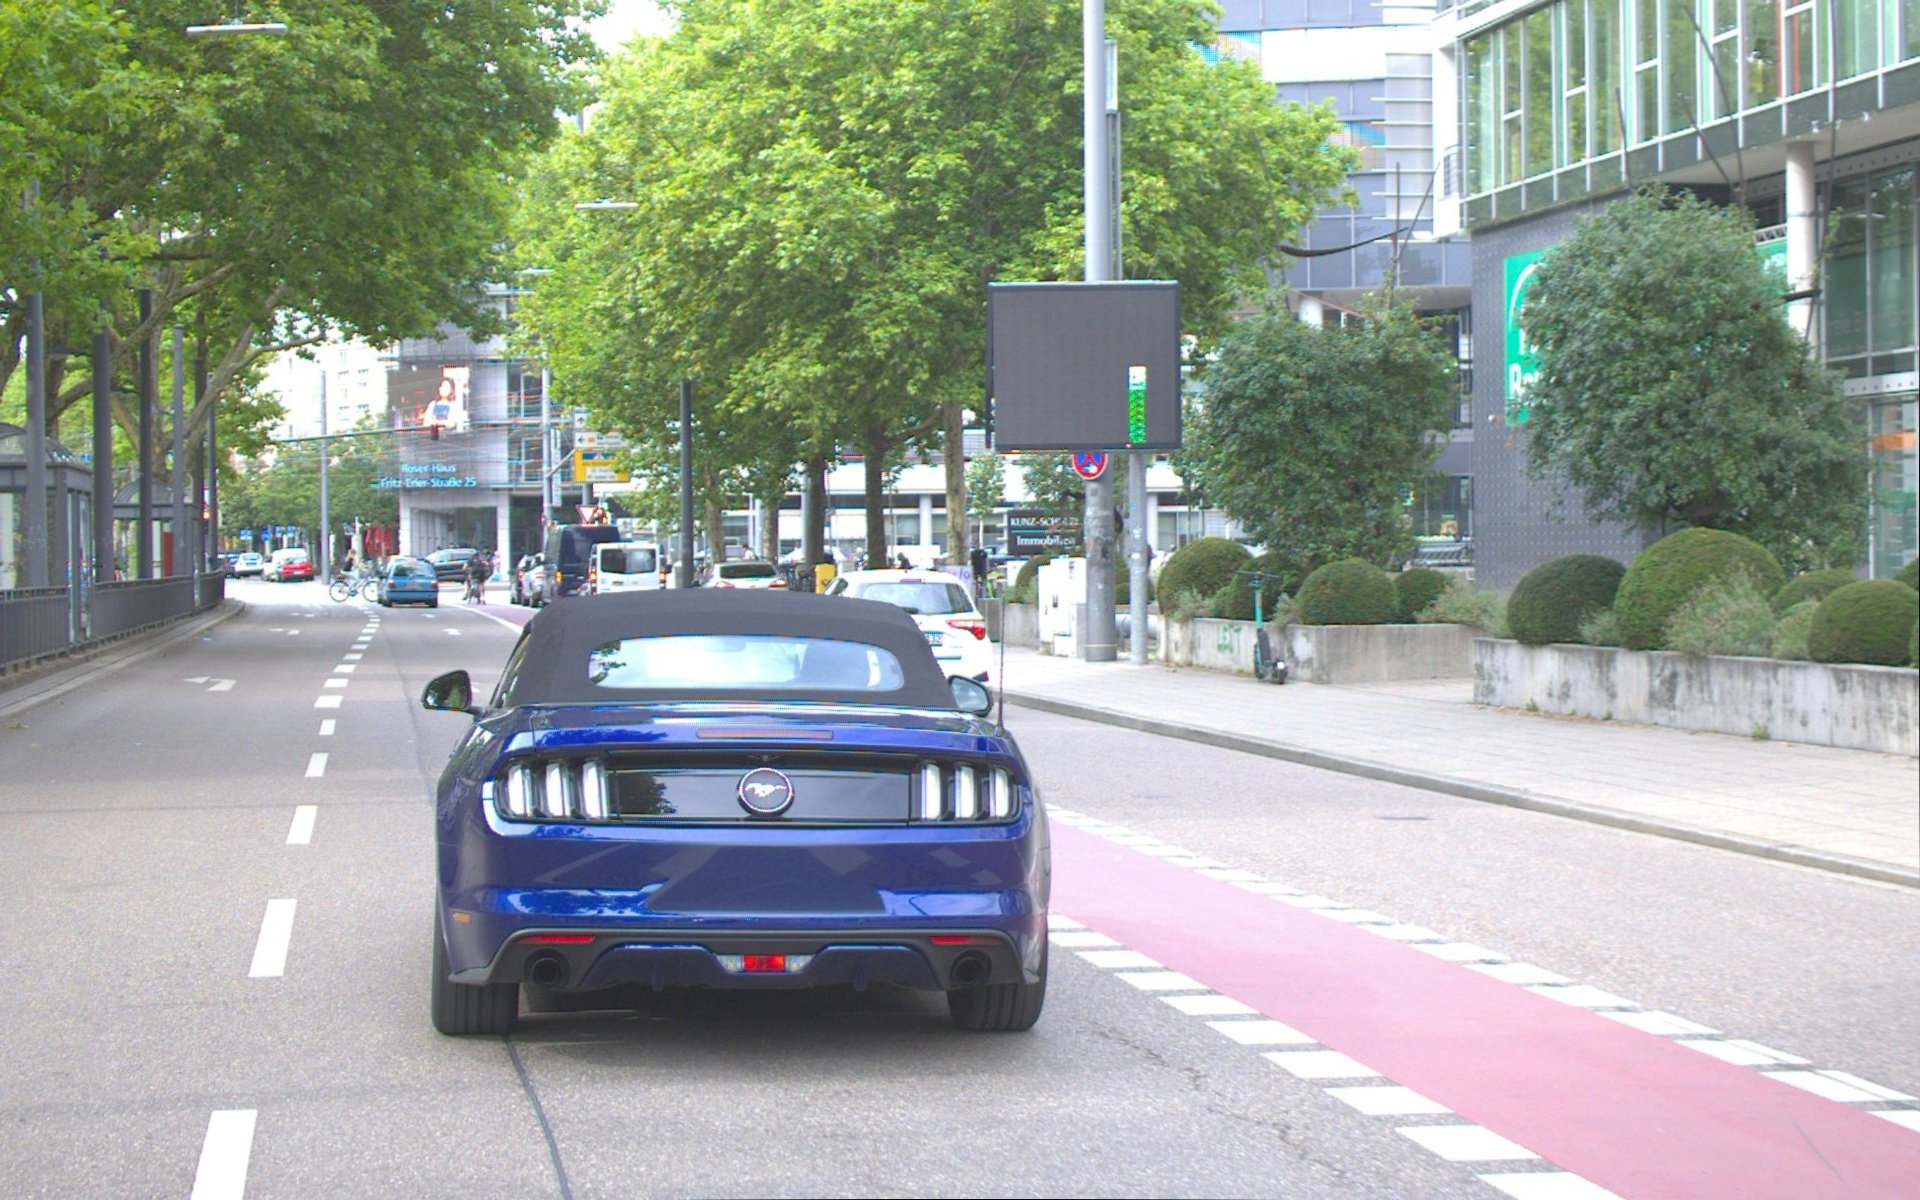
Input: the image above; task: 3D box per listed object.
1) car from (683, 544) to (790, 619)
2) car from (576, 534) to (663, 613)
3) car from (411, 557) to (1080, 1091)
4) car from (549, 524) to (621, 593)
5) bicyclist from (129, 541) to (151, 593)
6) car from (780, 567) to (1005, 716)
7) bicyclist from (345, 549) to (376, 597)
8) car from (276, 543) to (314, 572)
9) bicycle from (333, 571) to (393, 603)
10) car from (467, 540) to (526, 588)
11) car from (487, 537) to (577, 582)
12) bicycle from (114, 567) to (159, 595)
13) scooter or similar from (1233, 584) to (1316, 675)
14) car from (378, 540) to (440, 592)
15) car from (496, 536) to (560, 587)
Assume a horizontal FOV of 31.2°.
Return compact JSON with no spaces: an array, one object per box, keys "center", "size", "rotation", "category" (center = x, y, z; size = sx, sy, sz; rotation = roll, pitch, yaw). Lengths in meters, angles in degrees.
[{"center":[-4.962,-0.428,76.008],"size":[1.880,1.576,4.326],"rotation":[0,1,-10],"category":"car"},{"center":[-8.480,-0.674,85.388],"size":[1.890,1.897,4.130],"rotation":[-1,1,-9],"category":"car"},{"center":[-0.852,0.599,11.847],"size":[1.875,1.399,4.283],"rotation":[-1,2,-7],"category":"car"},{"center":[-10.702,-1.203,97.860],"size":[1.834,1.897,4.176],"rotation":[-1,1,-9],"category":"car"},{"center":[-27.618,-1.104,115.767],"size":[0.671,1.725,0.512],"rotation":[-1,1,-9],"category":"bicyclist"},{"center":[-0.778,0.391,36.506],"size":[1.834,1.434,4.188],"rotation":[-1,1,-9],"category":"car"},{"center":[-20.533,-0.927,117.822],"size":[1.006,1.654,0.648],"rotation":[-1,1,-9],"category":"bicyclist"},{"center":[-36.626,-2.344,189.461],"size":[1.834,1.515,4.176],"rotation":[-1,1,-9],"category":"car"},{"center":[-20.461,-0.449,117.838],"size":[2.017,1.083,0.669],"rotation":[-1,1,-9],"category":"bicycle"},{"center":[-15.306,-1.208,113.294],"size":[1.834,1.515,4.176],"rotation":[-1,1,-9],"category":"car"},{"center":[-19.477,-1.854,156.641],"size":[3.986,2.007,2.000],"rotation":[-1,1,-5],"category":"car"},{"center":[-27.730,-0.647,115.754],"size":[1.406,0.928,0.512],"rotation":[-1,1,-9],"category":"bicycle"},{"center":[3.451,0.309,37.848],"size":[0.587,0.947,1.860],"rotation":[-1,1,-5],"category":"scooter or similar"},{"center":[-17.100,-1.076,106.828],"size":[1.834,1.541,4.216],"rotation":[-1,1,-9],"category":"car"},{"center":[-13.477,-1.207,107.062],"size":[1.834,1.515,4.176],"rotation":[-1,1,-9],"category":"car"}]
